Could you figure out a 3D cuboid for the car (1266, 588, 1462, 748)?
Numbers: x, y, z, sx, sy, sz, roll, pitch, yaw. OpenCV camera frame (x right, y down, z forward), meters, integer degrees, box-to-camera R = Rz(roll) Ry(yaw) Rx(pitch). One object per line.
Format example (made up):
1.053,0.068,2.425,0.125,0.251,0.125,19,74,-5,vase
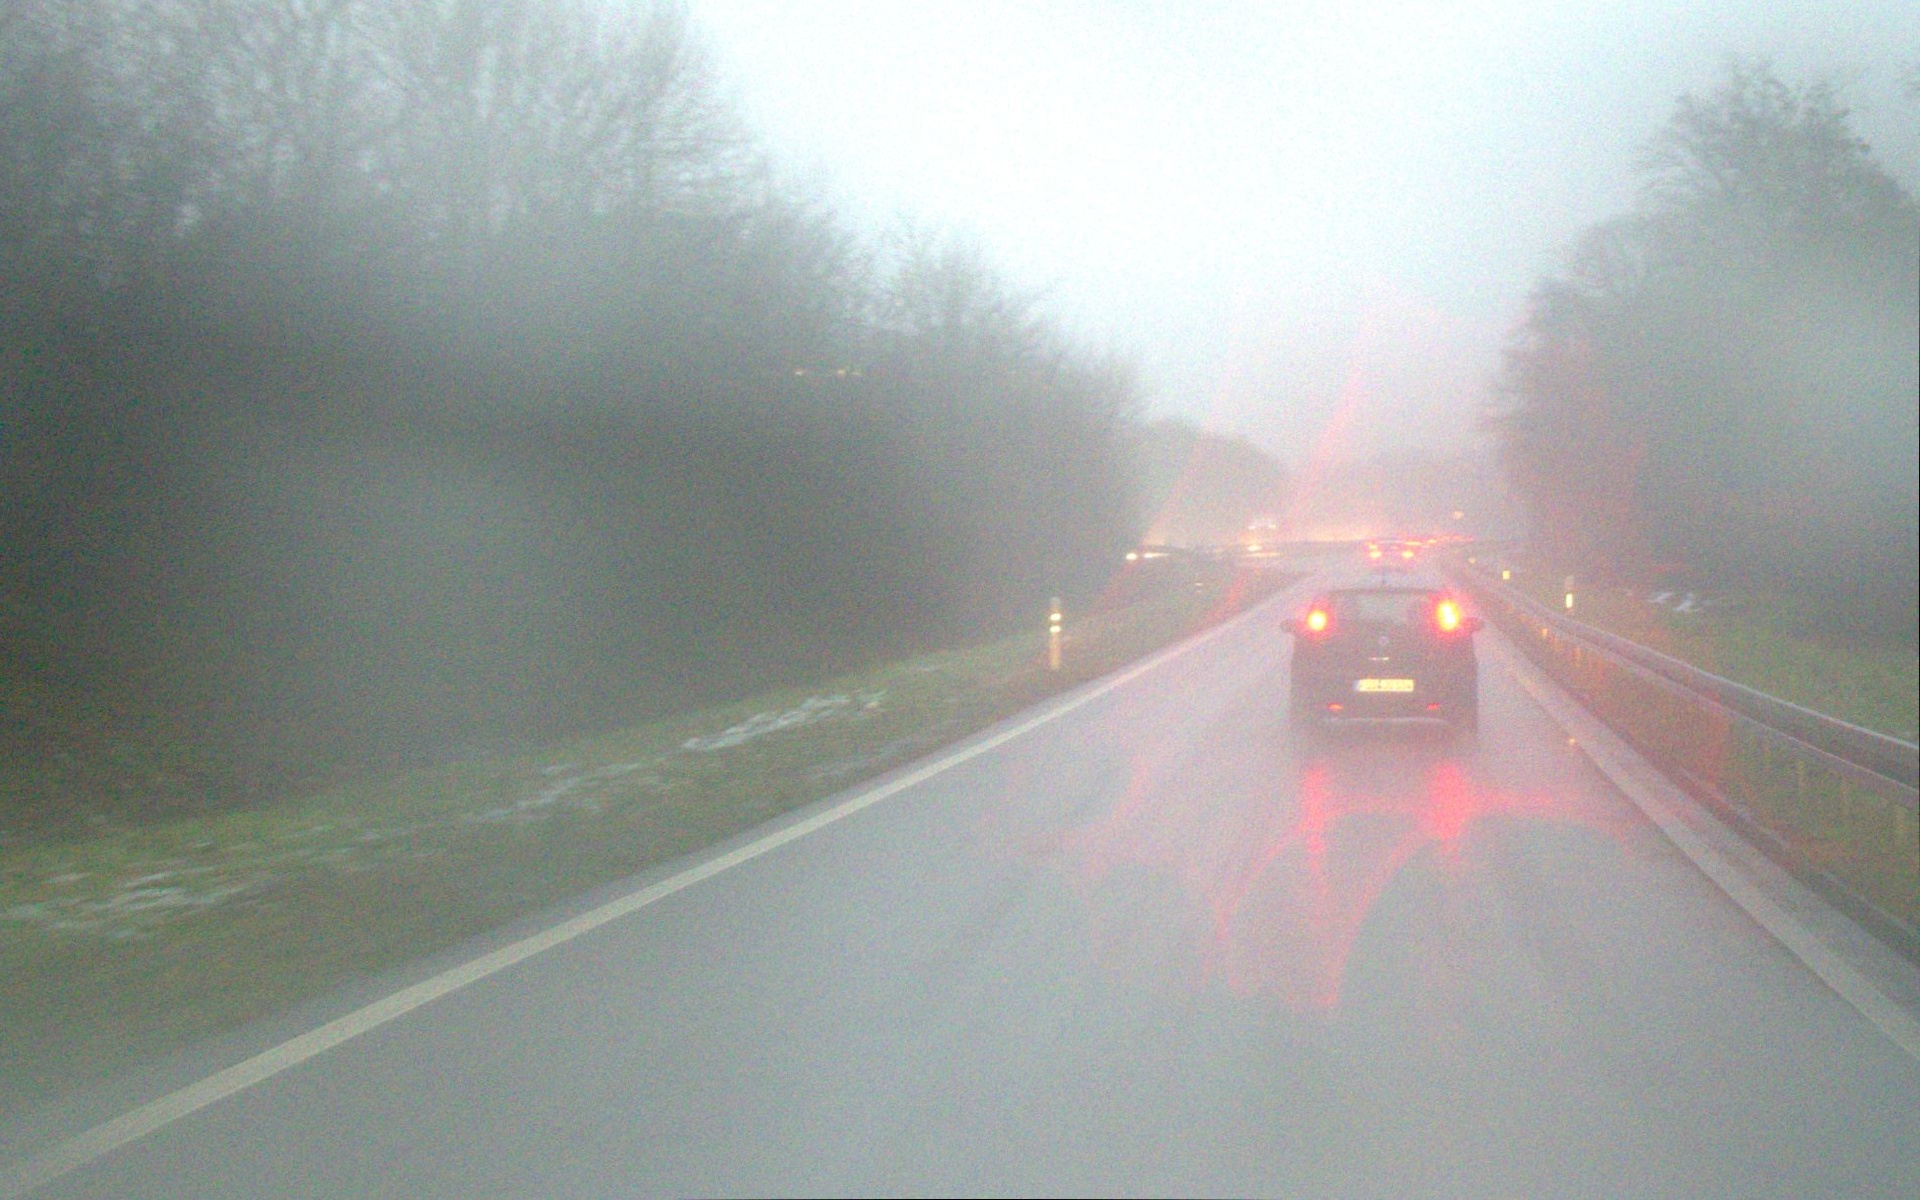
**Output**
3.829,0.609,32.601,1.732,1.424,3.764,0,0,7,car
